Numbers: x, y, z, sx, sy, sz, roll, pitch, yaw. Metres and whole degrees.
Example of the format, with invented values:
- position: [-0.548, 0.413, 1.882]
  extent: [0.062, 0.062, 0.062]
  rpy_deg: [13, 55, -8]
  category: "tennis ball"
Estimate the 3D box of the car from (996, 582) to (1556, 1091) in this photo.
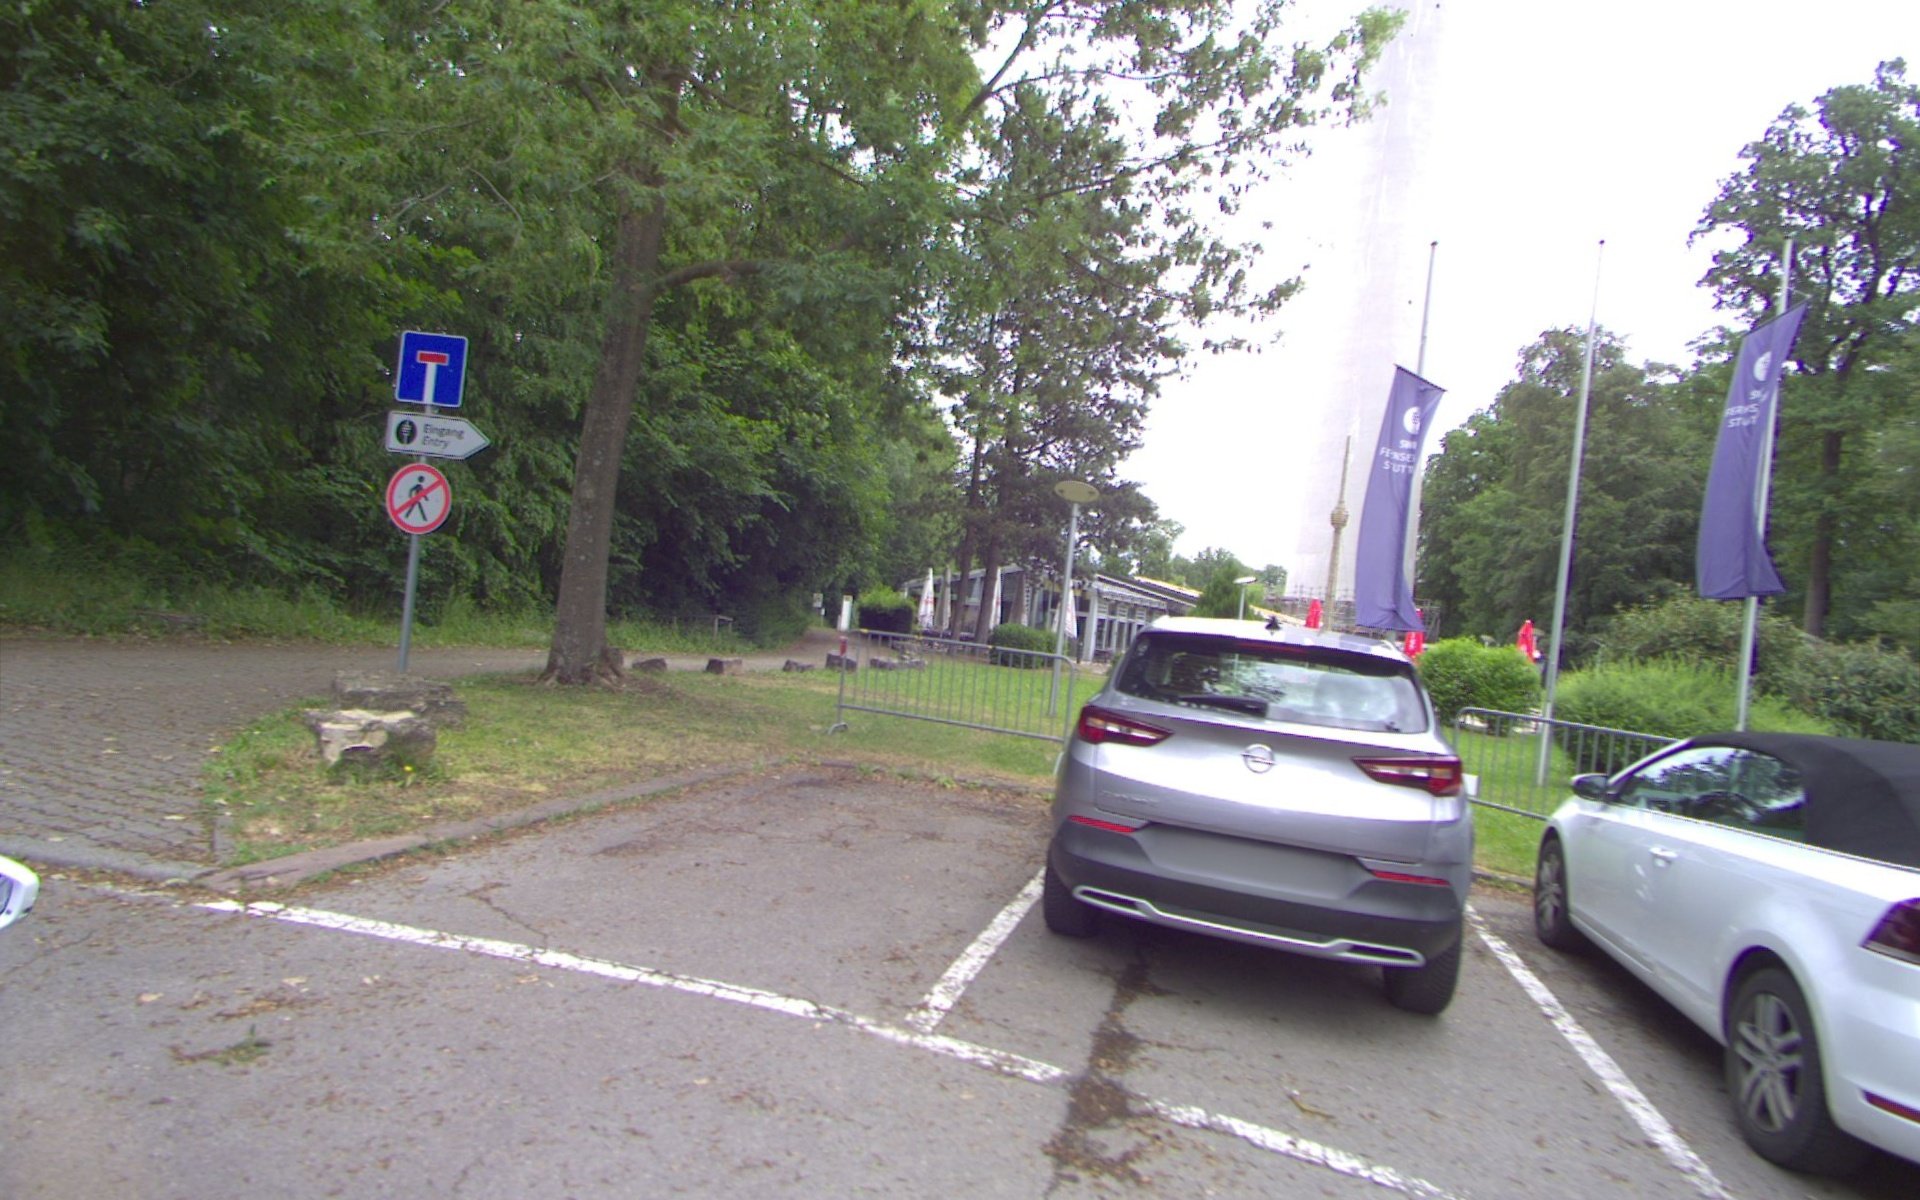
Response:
- position: [1.710, 0.933, 5.740]
  extent: [1.863, 1.604, 4.002]
  rpy_deg: [7, -1, 17]
  category: "car"

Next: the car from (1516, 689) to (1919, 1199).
- position: [3.969, 1.299, 4.276]
  extent: [1.863, 1.445, 4.002]
  rpy_deg: [7, -1, 17]
  category: "car"
